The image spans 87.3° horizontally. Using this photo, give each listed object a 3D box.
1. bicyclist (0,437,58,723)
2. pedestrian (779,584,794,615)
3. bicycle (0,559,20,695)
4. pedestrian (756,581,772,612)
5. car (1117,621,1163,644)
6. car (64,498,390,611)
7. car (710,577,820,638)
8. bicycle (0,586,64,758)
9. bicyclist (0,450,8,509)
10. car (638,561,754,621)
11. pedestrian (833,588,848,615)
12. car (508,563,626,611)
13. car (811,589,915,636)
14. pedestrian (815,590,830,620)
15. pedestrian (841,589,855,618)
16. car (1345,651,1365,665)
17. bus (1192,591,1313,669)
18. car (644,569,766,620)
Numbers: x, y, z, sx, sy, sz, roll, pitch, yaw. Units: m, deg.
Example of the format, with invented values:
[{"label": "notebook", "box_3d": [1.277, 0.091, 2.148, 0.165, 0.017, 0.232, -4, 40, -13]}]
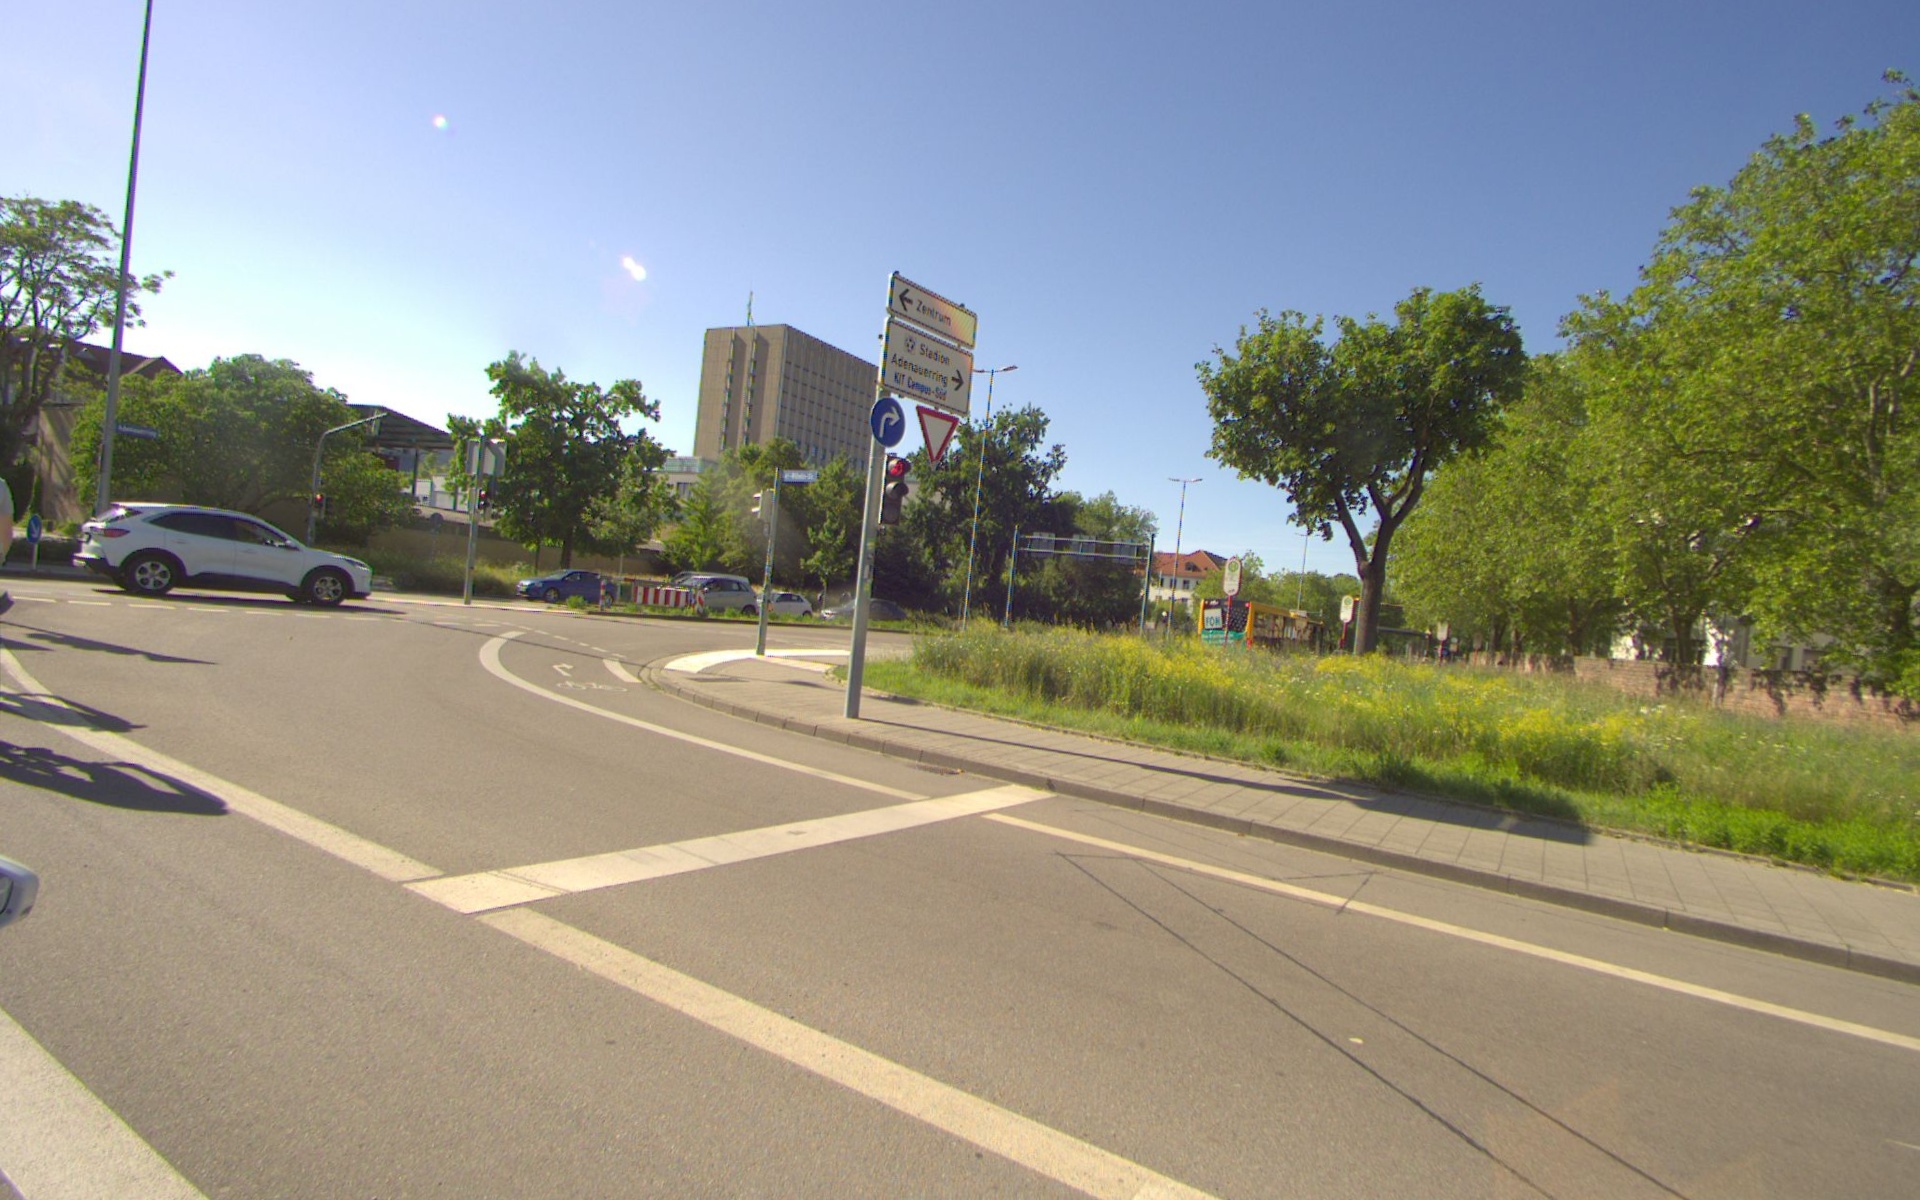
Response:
[{"label": "bicyclist", "box_3d": [-6.224, -0.175, 6.087, 1.000, 1.688, 0.752, 6, -1, 33]}, {"label": "pedestrian", "box_3d": [-10.484, -0.041, 60.808, 0.519, 1.801, 0.561, 7, 1, 35]}, {"label": "bicycle", "box_3d": [-8.203, 0.092, 7.771, 1.935, 1.014, 0.661, 6, -1, 26]}, {"label": "pedestrian", "box_3d": [-11.859, -0.189, 60.931, 0.519, 1.801, 0.561, 7, 1, 35]}, {"label": "car", "box_3d": [14.747, 2.684, 82.414, 1.968, 1.547, 4.473, 6, 0, 34]}, {"label": "car", "box_3d": [-13.731, -0.771, 19.097, 1.819, 1.639, 4.676, 3, -1, 41]}, {"label": "car", "box_3d": [-8.962, 0.406, 46.618, 1.969, 2.186, 4.783, 6, -2, 35]}, {"label": "bicycle", "box_3d": [-6.293, 0.342, 6.087, 1.946, 0.906, 0.741, 6, -2, 33]}, {"label": "bicyclist", "box_3d": [-8.137, -0.370, 7.776, 1.048, 1.759, 0.647, 7, -1, 26]}, {"label": "car", "box_3d": [-12.322, -0.395, 47.279, 1.970, 2.131, 4.880, 6, -2, 38]}, {"label": "pedestrian", "box_3d": [-7.884, 0.124, 66.402, 0.519, 1.716, 0.561, 7, 1, 35]}, {"label": "car", "box_3d": [-16.089, -0.512, 41.337, 1.717, 1.453, 4.162, 7, 0, 38]}, {"label": "car", "box_3d": [-4.248, 0.589, 44.796, 1.968, 1.604, 4.736, 6, 0, 33]}, {"label": "pedestrian", "box_3d": [-8.813, 0.325, 64.515, 0.519, 1.801, 0.561, 7, 1, 35]}, {"label": "pedestrian", "box_3d": [-7.353, 0.230, 66.047, 0.519, 1.801, 0.561, 7, 1, 35]}, {"label": "car", "box_3d": [48.542, 7.142, 123.573, 1.812, 1.405, 4.066, 4, -2, 27]}, {"label": "bus", "box_3d": [14.291, 1.581, 48.459, 2.751, 2.662, 10.099, 6, -2, 32]}, {"label": "car", "box_3d": [-9.433, -0.168, 37.427, 1.840, 1.426, 4.046, 6, 0, 38]}]
